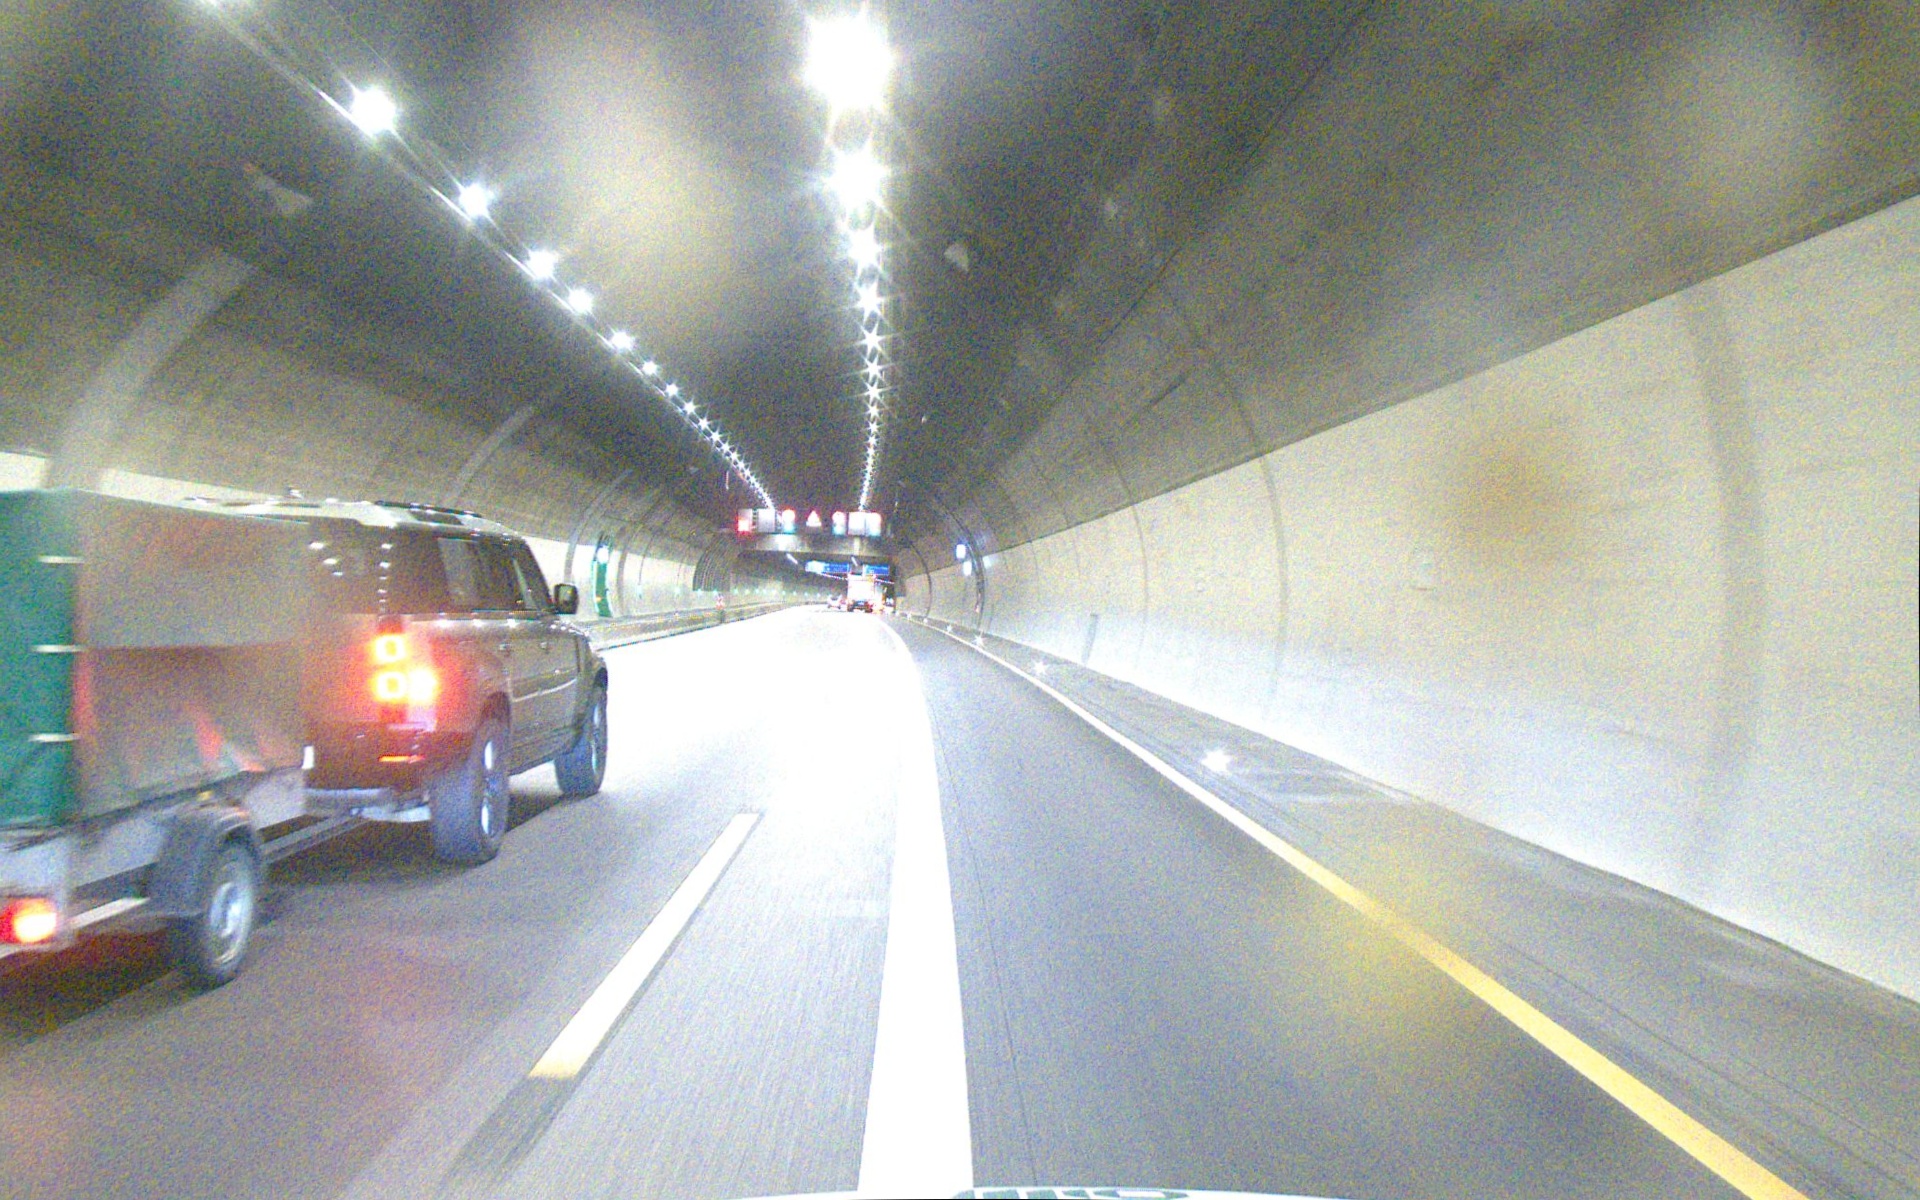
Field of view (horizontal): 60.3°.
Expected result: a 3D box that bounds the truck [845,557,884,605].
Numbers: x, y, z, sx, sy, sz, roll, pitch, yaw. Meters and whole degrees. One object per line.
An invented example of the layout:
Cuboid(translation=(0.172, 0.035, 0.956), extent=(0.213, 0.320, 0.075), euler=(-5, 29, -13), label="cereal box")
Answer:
Cuboid(translation=(-9.328, -1.836, 160.864), extent=(3.406, 4.391, 10.943), euler=(3, 0, -4), label="truck")

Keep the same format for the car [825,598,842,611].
Cuboid(translation=(-16.243, 0.572, 212.241), extent=(1.955, 1.609, 3.996), euler=(3, 0, -5), label="car")

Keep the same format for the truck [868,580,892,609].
Cuboid(translation=(-12.659, -0.837, 259.575), extent=(3.406, 4.391, 10.942), euler=(2, 0, -4), label="truck")

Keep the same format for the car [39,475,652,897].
Cuboid(translation=(-3.445, 0.402, 10.653), extent=(1.953, 1.928, 5.452), euler=(3, 0, -2), label="car")
